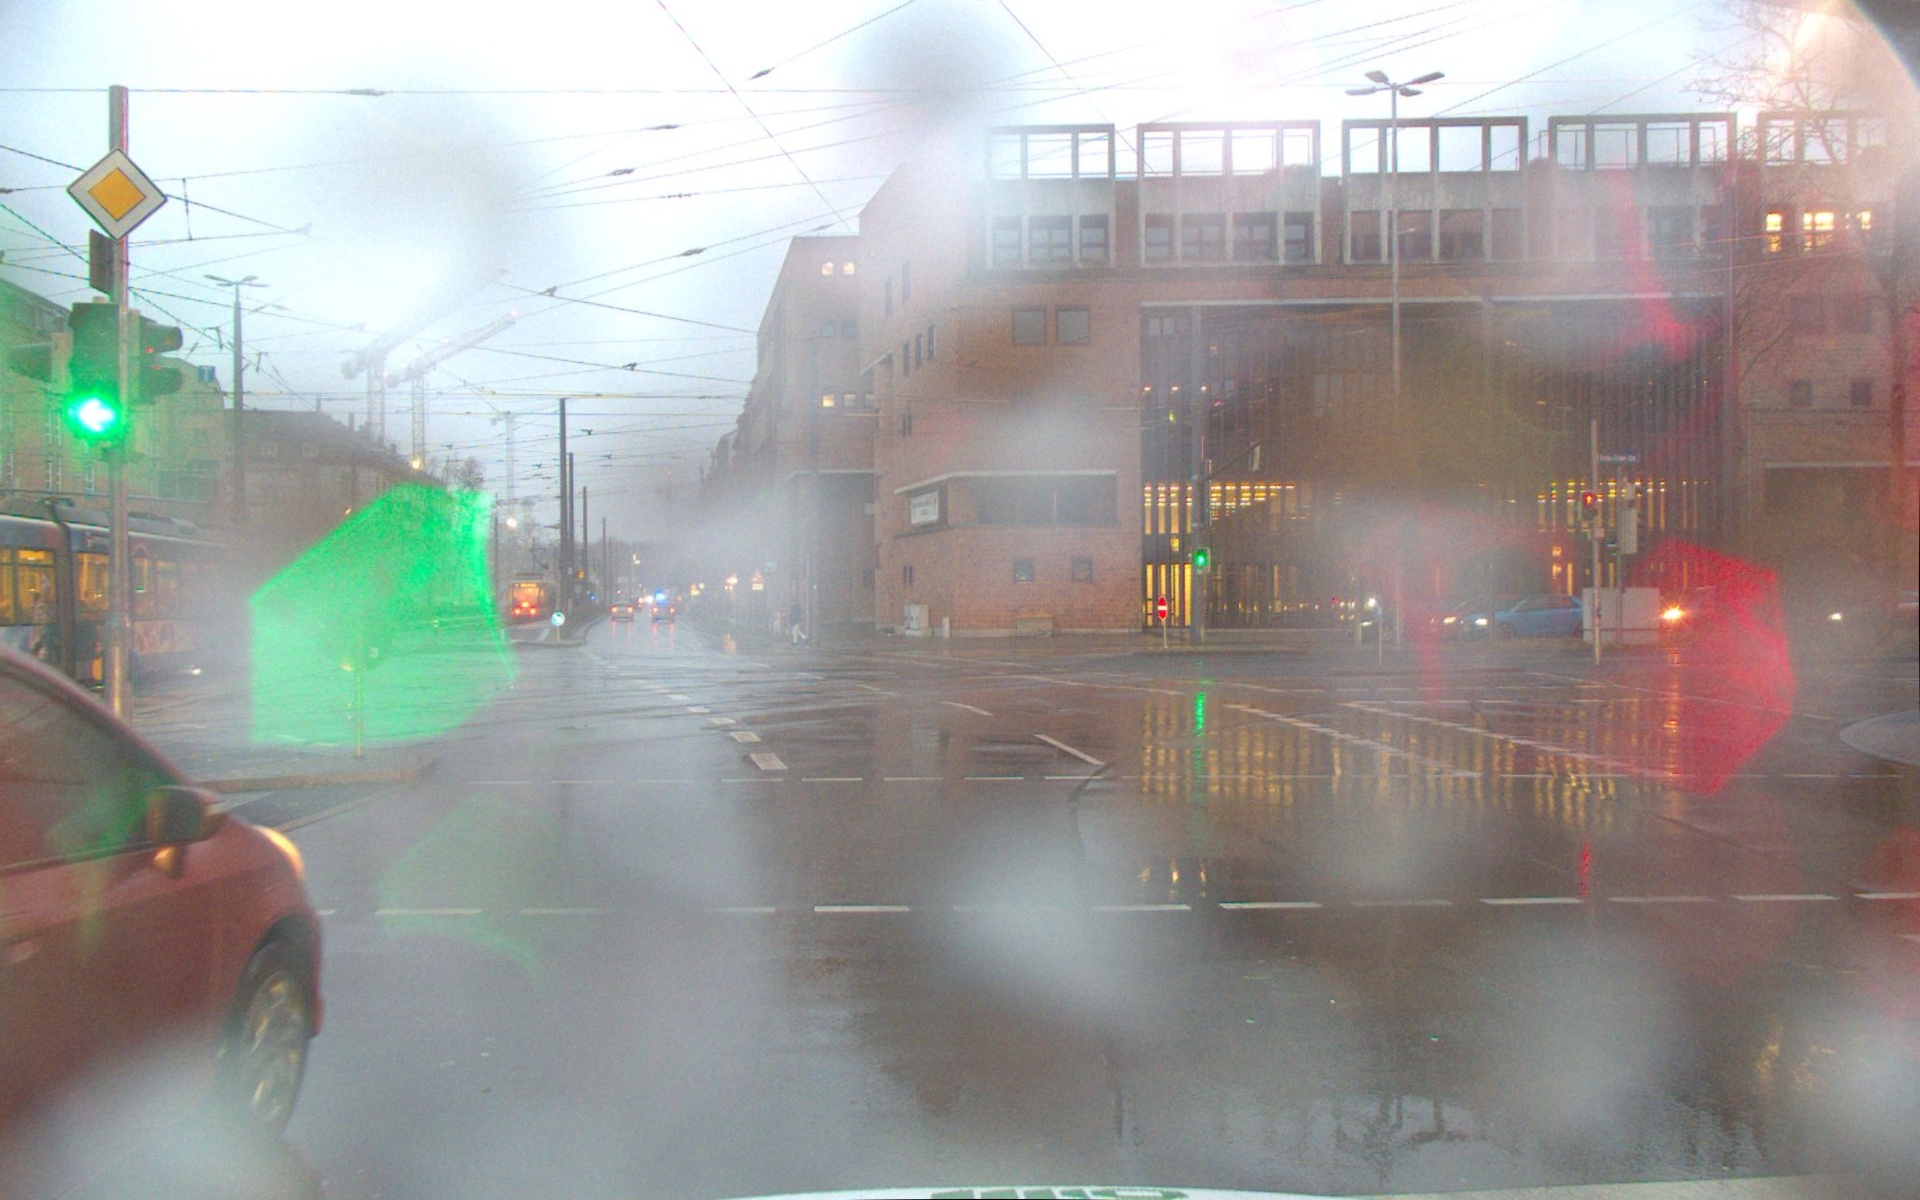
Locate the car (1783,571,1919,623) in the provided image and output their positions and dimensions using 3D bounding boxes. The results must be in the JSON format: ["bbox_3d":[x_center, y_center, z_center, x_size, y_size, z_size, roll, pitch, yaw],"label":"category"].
[{"bbox_3d":[29.339,-0.110,54.136,3.910,1.530,1.846,-1,4,-7],"label":"car"}]

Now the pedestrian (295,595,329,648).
[{"bbox_3d":[-25.653,0.846,65.482,0.959,2.049,0.835,0,0,14],"label":"pedestrian"}]

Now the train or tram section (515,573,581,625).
[{"bbox_3d":[-31.533,-0.058,127.768,3.133,3.496,27.760,-1,0,-10],"label":"train or tram section"}]

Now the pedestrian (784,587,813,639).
[{"bbox_3d":[-6.403,0.522,65.494,1.050,2.049,0.683,-1,0,-14],"label":"pedestrian"}]

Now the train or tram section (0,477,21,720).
[{"bbox_3d":[-14.955,-0.004,15.551,2.809,3.677,20.044,-1,0,-6],"label":"train or tram section"}]

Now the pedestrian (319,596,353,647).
[{"bbox_3d":[-25.208,0.867,66.806,0.959,2.049,0.835,0,0,14],"label":"pedestrian"}]

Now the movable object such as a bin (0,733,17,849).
[{"bbox_3d":[-6.236,1.203,10.281,0.404,0.711,0.535,-3,-2,38],"label":"movable object such as a bin"}]

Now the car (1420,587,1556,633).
[{"bbox_3d":[16.610,0.301,52.155,3.649,1.284,1.846,-1,4,-7],"label":"car"}]

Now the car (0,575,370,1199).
[{"bbox_3d":[-2.562,0.709,2.970,1.663,1.485,3.757,-1,0,0],"label":"car"}]

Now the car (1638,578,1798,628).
[{"bbox_3d":[22.354,0.072,48.863,3.910,1.310,1.846,-1,4,-7],"label":"car"}]

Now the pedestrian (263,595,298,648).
[{"bbox_3d":[-26.404,0.825,64.278,0.959,2.049,0.835,0,0,14],"label":"pedestrian"}]

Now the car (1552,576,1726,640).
[{"bbox_3d":[18.236,0.191,44.514,3.910,1.530,1.846,-1,4,-7],"label":"car"}]

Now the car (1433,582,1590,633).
[{"bbox_3d":[15.983,0.195,48.059,3.910,1.284,1.846,-1,4,-7],"label":"car"}]

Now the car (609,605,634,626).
[{"bbox_3d":[-27.230,1.231,133.263,1.837,1.606,3.990,2,0,-10],"label":"car"}]

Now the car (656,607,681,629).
[{"bbox_3d":[-23.143,1.421,131.371,1.836,1.606,3.992,2,0,-9],"label":"car"}]

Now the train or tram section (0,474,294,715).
[{"bbox_3d":[-17.496,-0.046,34.058,2.812,3.677,19.170,-1,0,-9],"label":"train or tram section"}]
